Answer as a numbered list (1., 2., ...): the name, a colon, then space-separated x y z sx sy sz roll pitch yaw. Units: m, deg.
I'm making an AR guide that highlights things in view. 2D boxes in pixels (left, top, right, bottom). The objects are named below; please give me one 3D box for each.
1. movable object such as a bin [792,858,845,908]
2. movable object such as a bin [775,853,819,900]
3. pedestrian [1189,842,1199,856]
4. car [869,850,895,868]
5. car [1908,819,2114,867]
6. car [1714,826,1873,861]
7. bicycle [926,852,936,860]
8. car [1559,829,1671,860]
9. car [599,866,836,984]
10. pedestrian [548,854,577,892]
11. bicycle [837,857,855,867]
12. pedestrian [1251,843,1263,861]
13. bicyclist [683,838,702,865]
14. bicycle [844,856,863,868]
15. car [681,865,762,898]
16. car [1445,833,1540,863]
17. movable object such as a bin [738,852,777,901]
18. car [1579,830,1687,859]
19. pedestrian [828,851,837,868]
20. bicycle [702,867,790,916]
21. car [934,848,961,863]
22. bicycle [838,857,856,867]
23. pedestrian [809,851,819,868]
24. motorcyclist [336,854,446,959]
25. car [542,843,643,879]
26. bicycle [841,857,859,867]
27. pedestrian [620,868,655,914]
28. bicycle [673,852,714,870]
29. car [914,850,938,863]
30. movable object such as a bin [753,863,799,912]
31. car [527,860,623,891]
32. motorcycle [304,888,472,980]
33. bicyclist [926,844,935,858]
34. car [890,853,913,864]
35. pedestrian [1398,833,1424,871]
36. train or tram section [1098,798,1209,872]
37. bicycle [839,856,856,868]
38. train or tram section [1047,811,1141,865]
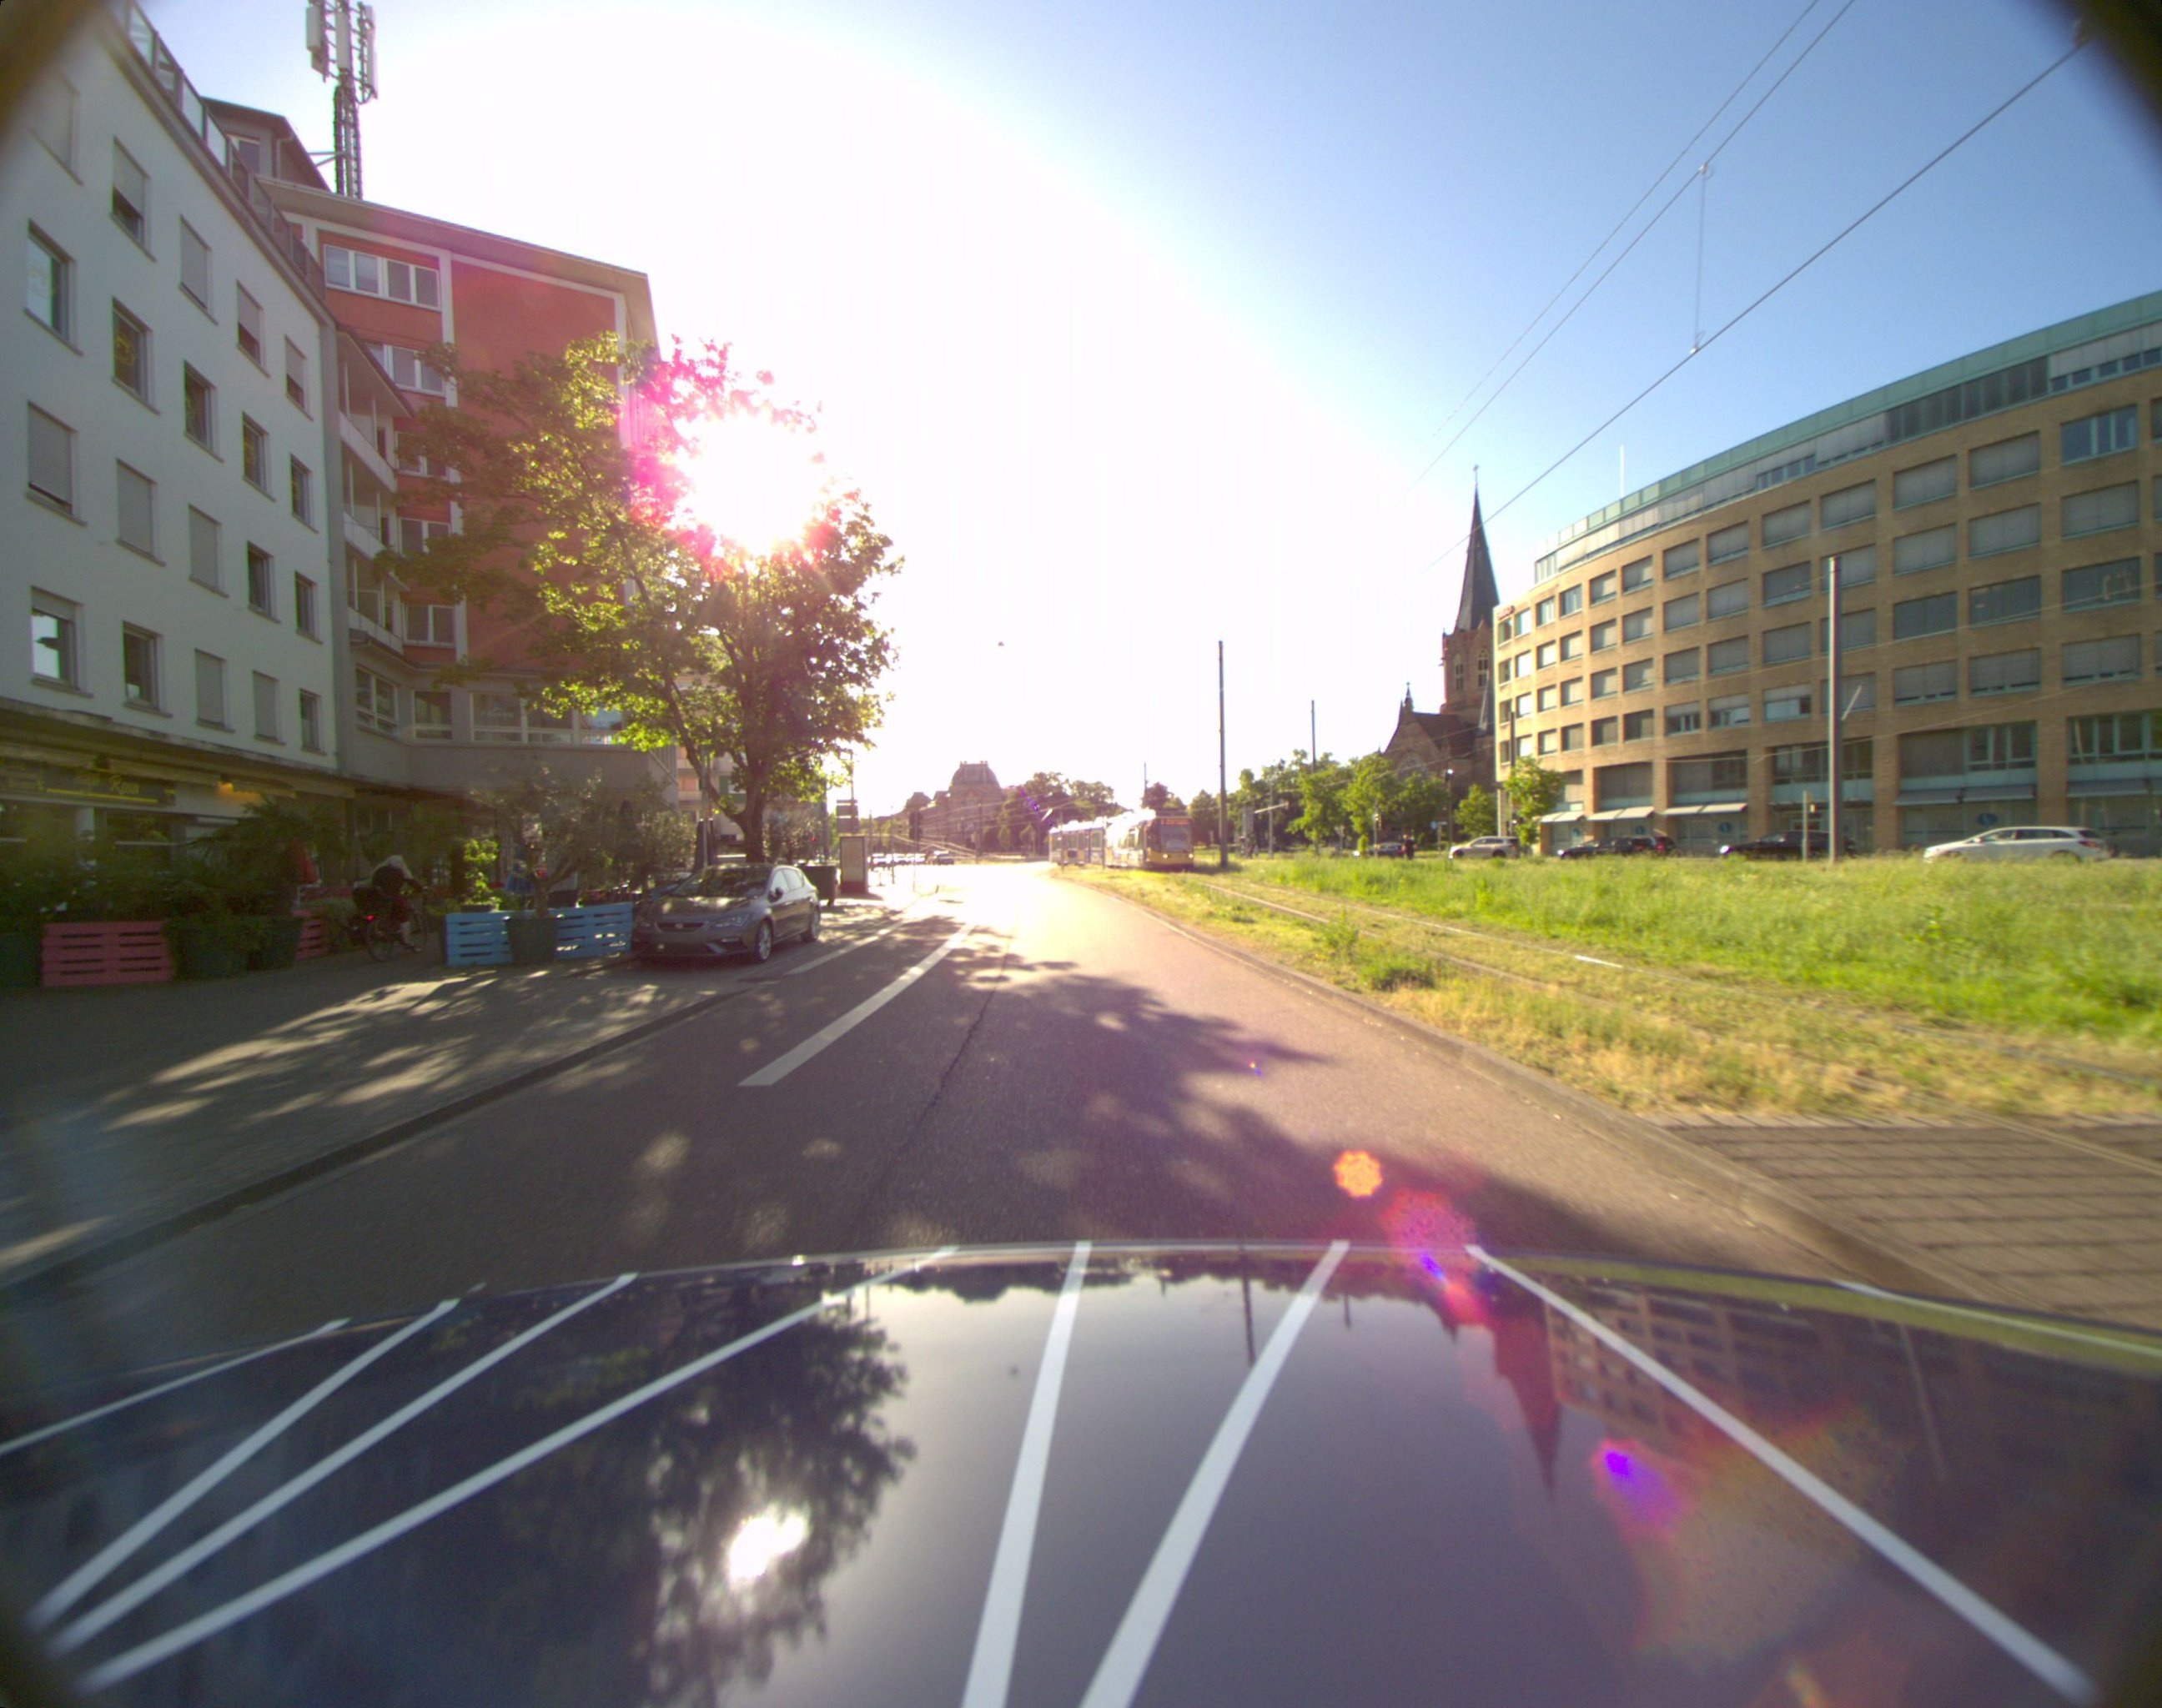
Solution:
1. movable object such as a bin: -7.943 0.870 23.047 1.284 1.384 0.921 -3 2 -6
2. movable object such as a bin: -10.558 0.818 28.207 1.386 1.630 1.006 -3 2 -24
3. pedestrian: 15.881 -0.699 106.521 0.846 1.836 1.113 -4 3 -26
4. car: -20.924 0.515 79.902 1.905 1.677 4.109 -2 1 -25
5. car: 35.404 -0.427 29.100 2.002 1.587 4.646 -4 2 -25
6. car: 32.789 -0.485 35.173 2.002 1.439 5.010 -4 2 -21
7. bicycle: -18.041 0.278 91.242 0.632 0.934 1.901 -4 2 -29
8. car: 29.331 -0.522 41.919 2.002 1.509 4.652 -4 2 -25
9. car: -5.565 0.975 12.395 1.770 1.430 4.582 -1 0 -2
10. pedestrian: -25.542 0.940 37.430 0.897 1.769 0.859 -1 3 39
11. bicycle: -26.129 0.880 84.499 1.826 1.054 0.414 -2 2 -28
12. pedestrian: 20.417 -0.233 88.110 0.880 2.002 0.923 -4 3 -23
13. bicyclist: -23.778 -0.155 46.501 0.937 1.551 0.939 -4 3 -26
14. bicycle: -23.697 0.856 79.185 1.822 1.076 0.529 -4 3 -27
15. car: -21.129 1.593 44.754 4.168 1.494 1.841 -4 4 -26
16. car: 26.315 -0.360 48.751 2.109 1.724 5.075 -2 1 -26
17. movable object such as a bin: -11.815 0.810 27.740 1.261 1.699 0.943 -2 2 -25
18. car: 35.230 -0.588 48.659 2.127 1.659 5.200 -4 2 -24
19. pedestrian: -26.231 0.621 80.125 0.793 1.767 0.873 -2 1 -25
20. bicycle: -9.063 0.996 20.565 2.164 1.243 0.900 -1 1 22
21. car: -15.353 0.123 87.130 2.002 1.528 4.347 -4 2 -24
22. bicycle: -25.901 0.909 84.169 1.826 1.054 0.414 -2 2 -28
23. pedestrian: -29.106 0.617 82.834 0.867 1.824 1.208 -2 1 -25
24. motorcyclist: -10.964 0.805 12.117 0.900 1.542 0.805 -3 2 -9
25. car: -32.961 0.440 51.455 5.259 2.186 2.373 -2 1 -20
26. bicycle: -25.110 0.863 82.453 1.826 1.063 0.414 -1 2 -28
27. pedestrian: -18.649 1.550 31.946 0.828 1.834 0.891 -3 2 -2
28. bicycle: -23.733 0.413 46.531 2.151 0.995 0.859 -4 2 -26
29. car: -19.690 0.298 96.472 2.002 1.422 4.124 -4 2 -24
30. movable object such as a bin: -9.183 0.993 22.904 1.177 1.348 0.926 -4 2 -22
31. car: -27.785 1.156 41.898 4.168 1.419 1.573 -3 3 -26
32. motorcycle: -10.955 1.210 12.154 0.778 1.120 2.295 -3 2 -9
33. bicyclist: -18.069 -0.358 91.197 0.705 1.720 0.852 -4 3 -29
34. car: -22.526 0.507 95.145 1.990 1.284 4.384 -2 1 -24
35. pedestrian: 14.926 -0.094 34.370 0.736 1.661 0.744 -2 1 -7
36. train or tram section: 3.874 -1.009 45.372 2.959 3.664 13.170 -3 1 -10
37. bicycle: -25.754 0.901 83.779 1.785 1.222 0.414 -2 2 -28
38. train or tram section: 0.663 -1.115 58.887 2.961 3.592 13.613 -3 1 -18
